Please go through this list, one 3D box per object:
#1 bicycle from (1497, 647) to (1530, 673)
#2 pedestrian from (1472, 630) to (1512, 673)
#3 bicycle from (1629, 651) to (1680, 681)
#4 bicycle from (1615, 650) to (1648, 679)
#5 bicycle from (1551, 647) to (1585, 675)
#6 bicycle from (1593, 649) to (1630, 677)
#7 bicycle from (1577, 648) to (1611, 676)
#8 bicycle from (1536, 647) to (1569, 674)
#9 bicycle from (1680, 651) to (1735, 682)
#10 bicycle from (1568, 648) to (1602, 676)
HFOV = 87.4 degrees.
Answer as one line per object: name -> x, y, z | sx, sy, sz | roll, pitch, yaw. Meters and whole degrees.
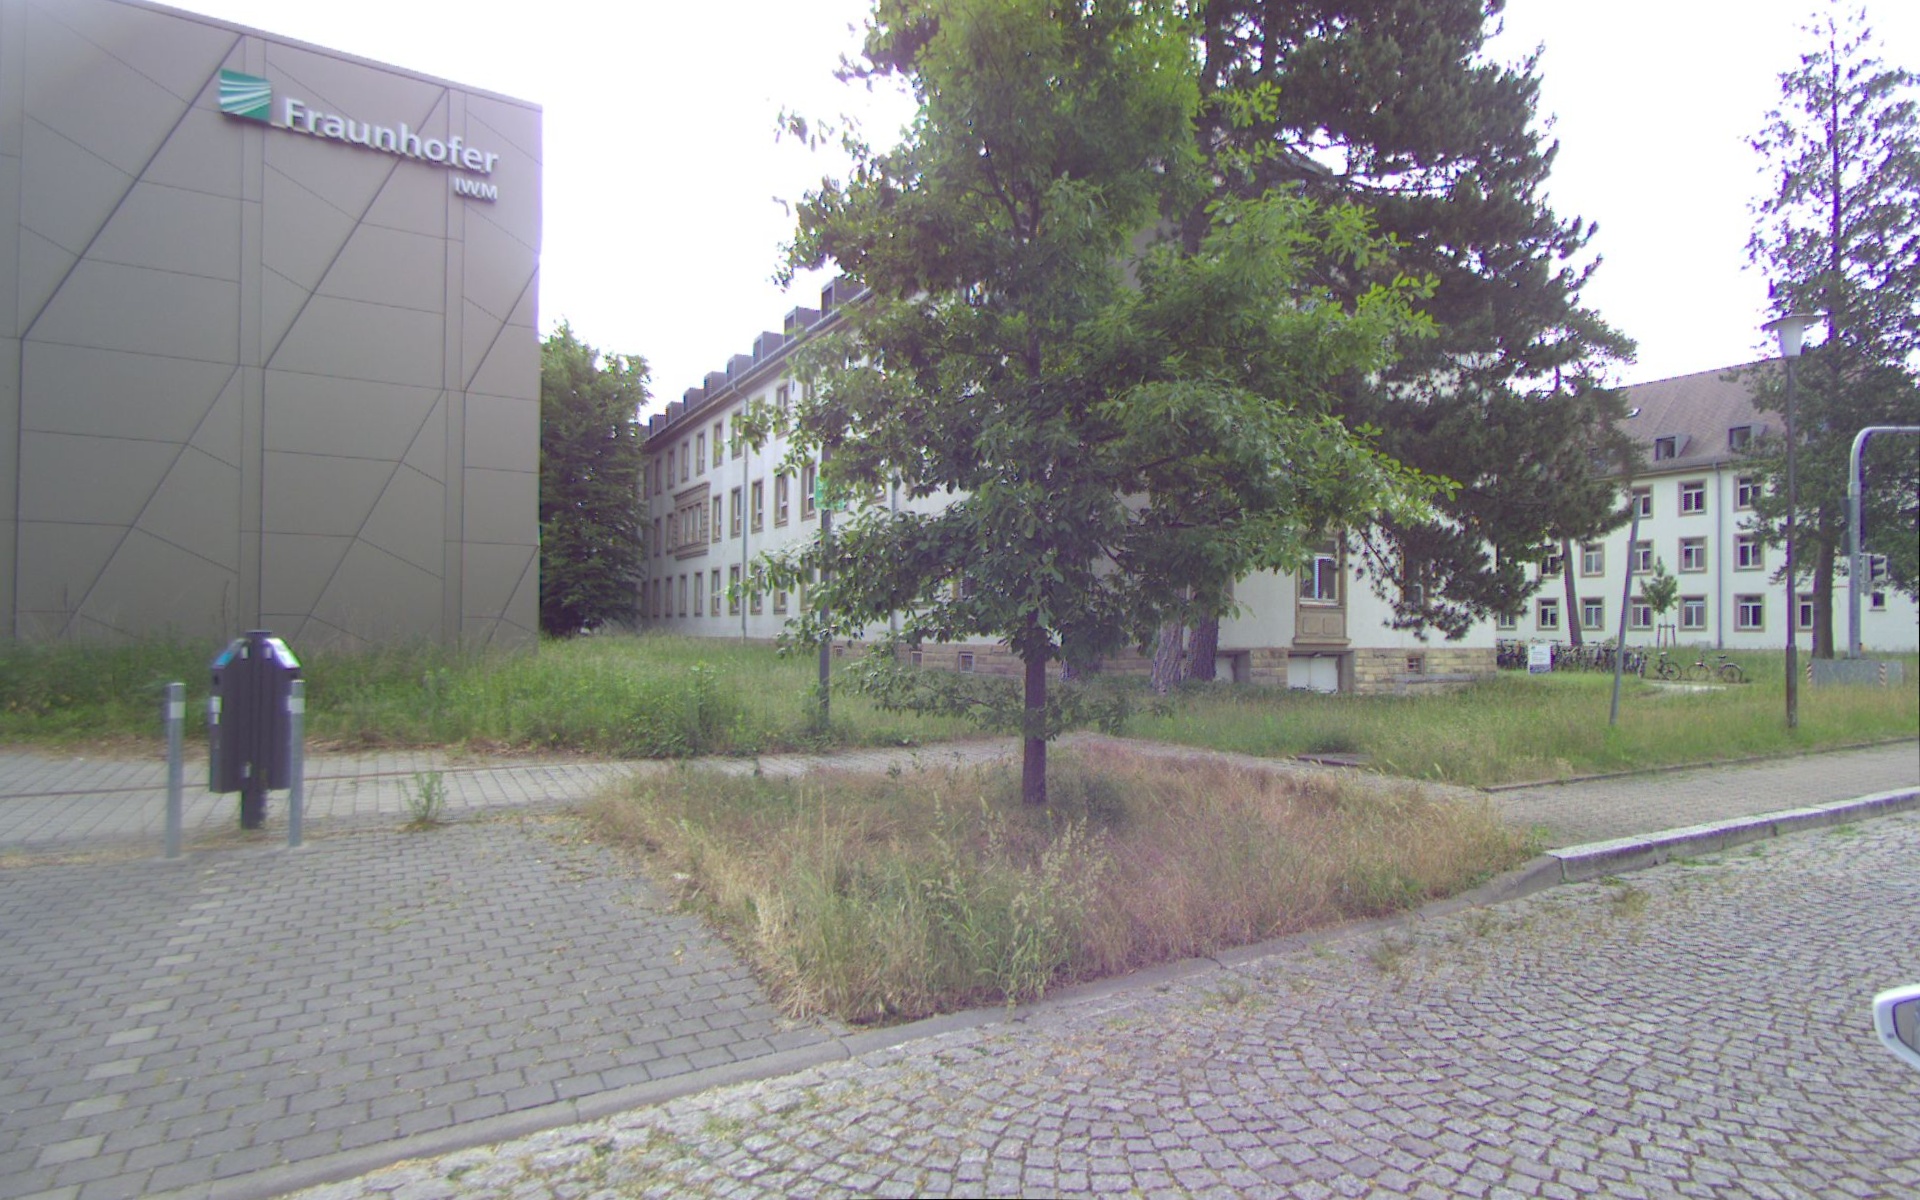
bicycle -> 23.700, 2.556, 42.981 | 1.567, 1.093, 0.512 | 2, -2, -31
pedestrian -> 22.852, 2.195, 43.165 | 1.135, 1.812, 1.064 | -1, -1, -3
bicycle -> 25.641, 2.421, 37.089 | 0.510, 1.093, 1.457 | 2, -3, -32
bicycle -> 26.091, 2.489, 39.029 | 1.569, 1.093, 0.511 | 2, -3, -34
bicycle -> 24.866, 2.491, 41.055 | 1.567, 1.093, 0.512 | 2, -2, -31
bicycle -> 25.676, 2.485, 39.567 | 1.566, 1.093, 0.512 | 2, -2, -28
bicycle -> 25.400, 2.485, 40.222 | 1.567, 1.093, 0.512 | 2, -2, -31
bicycle -> 24.534, 2.511, 41.581 | 1.567, 1.093, 0.512 | 2, -2, -31
bicycle -> 26.604, 2.356, 35.766 | 0.510, 1.079, 1.457 | 2, -3, -32
bicycle -> 25.222, 2.484, 40.536 | 1.567, 1.093, 0.512 | 2, -2, -31
